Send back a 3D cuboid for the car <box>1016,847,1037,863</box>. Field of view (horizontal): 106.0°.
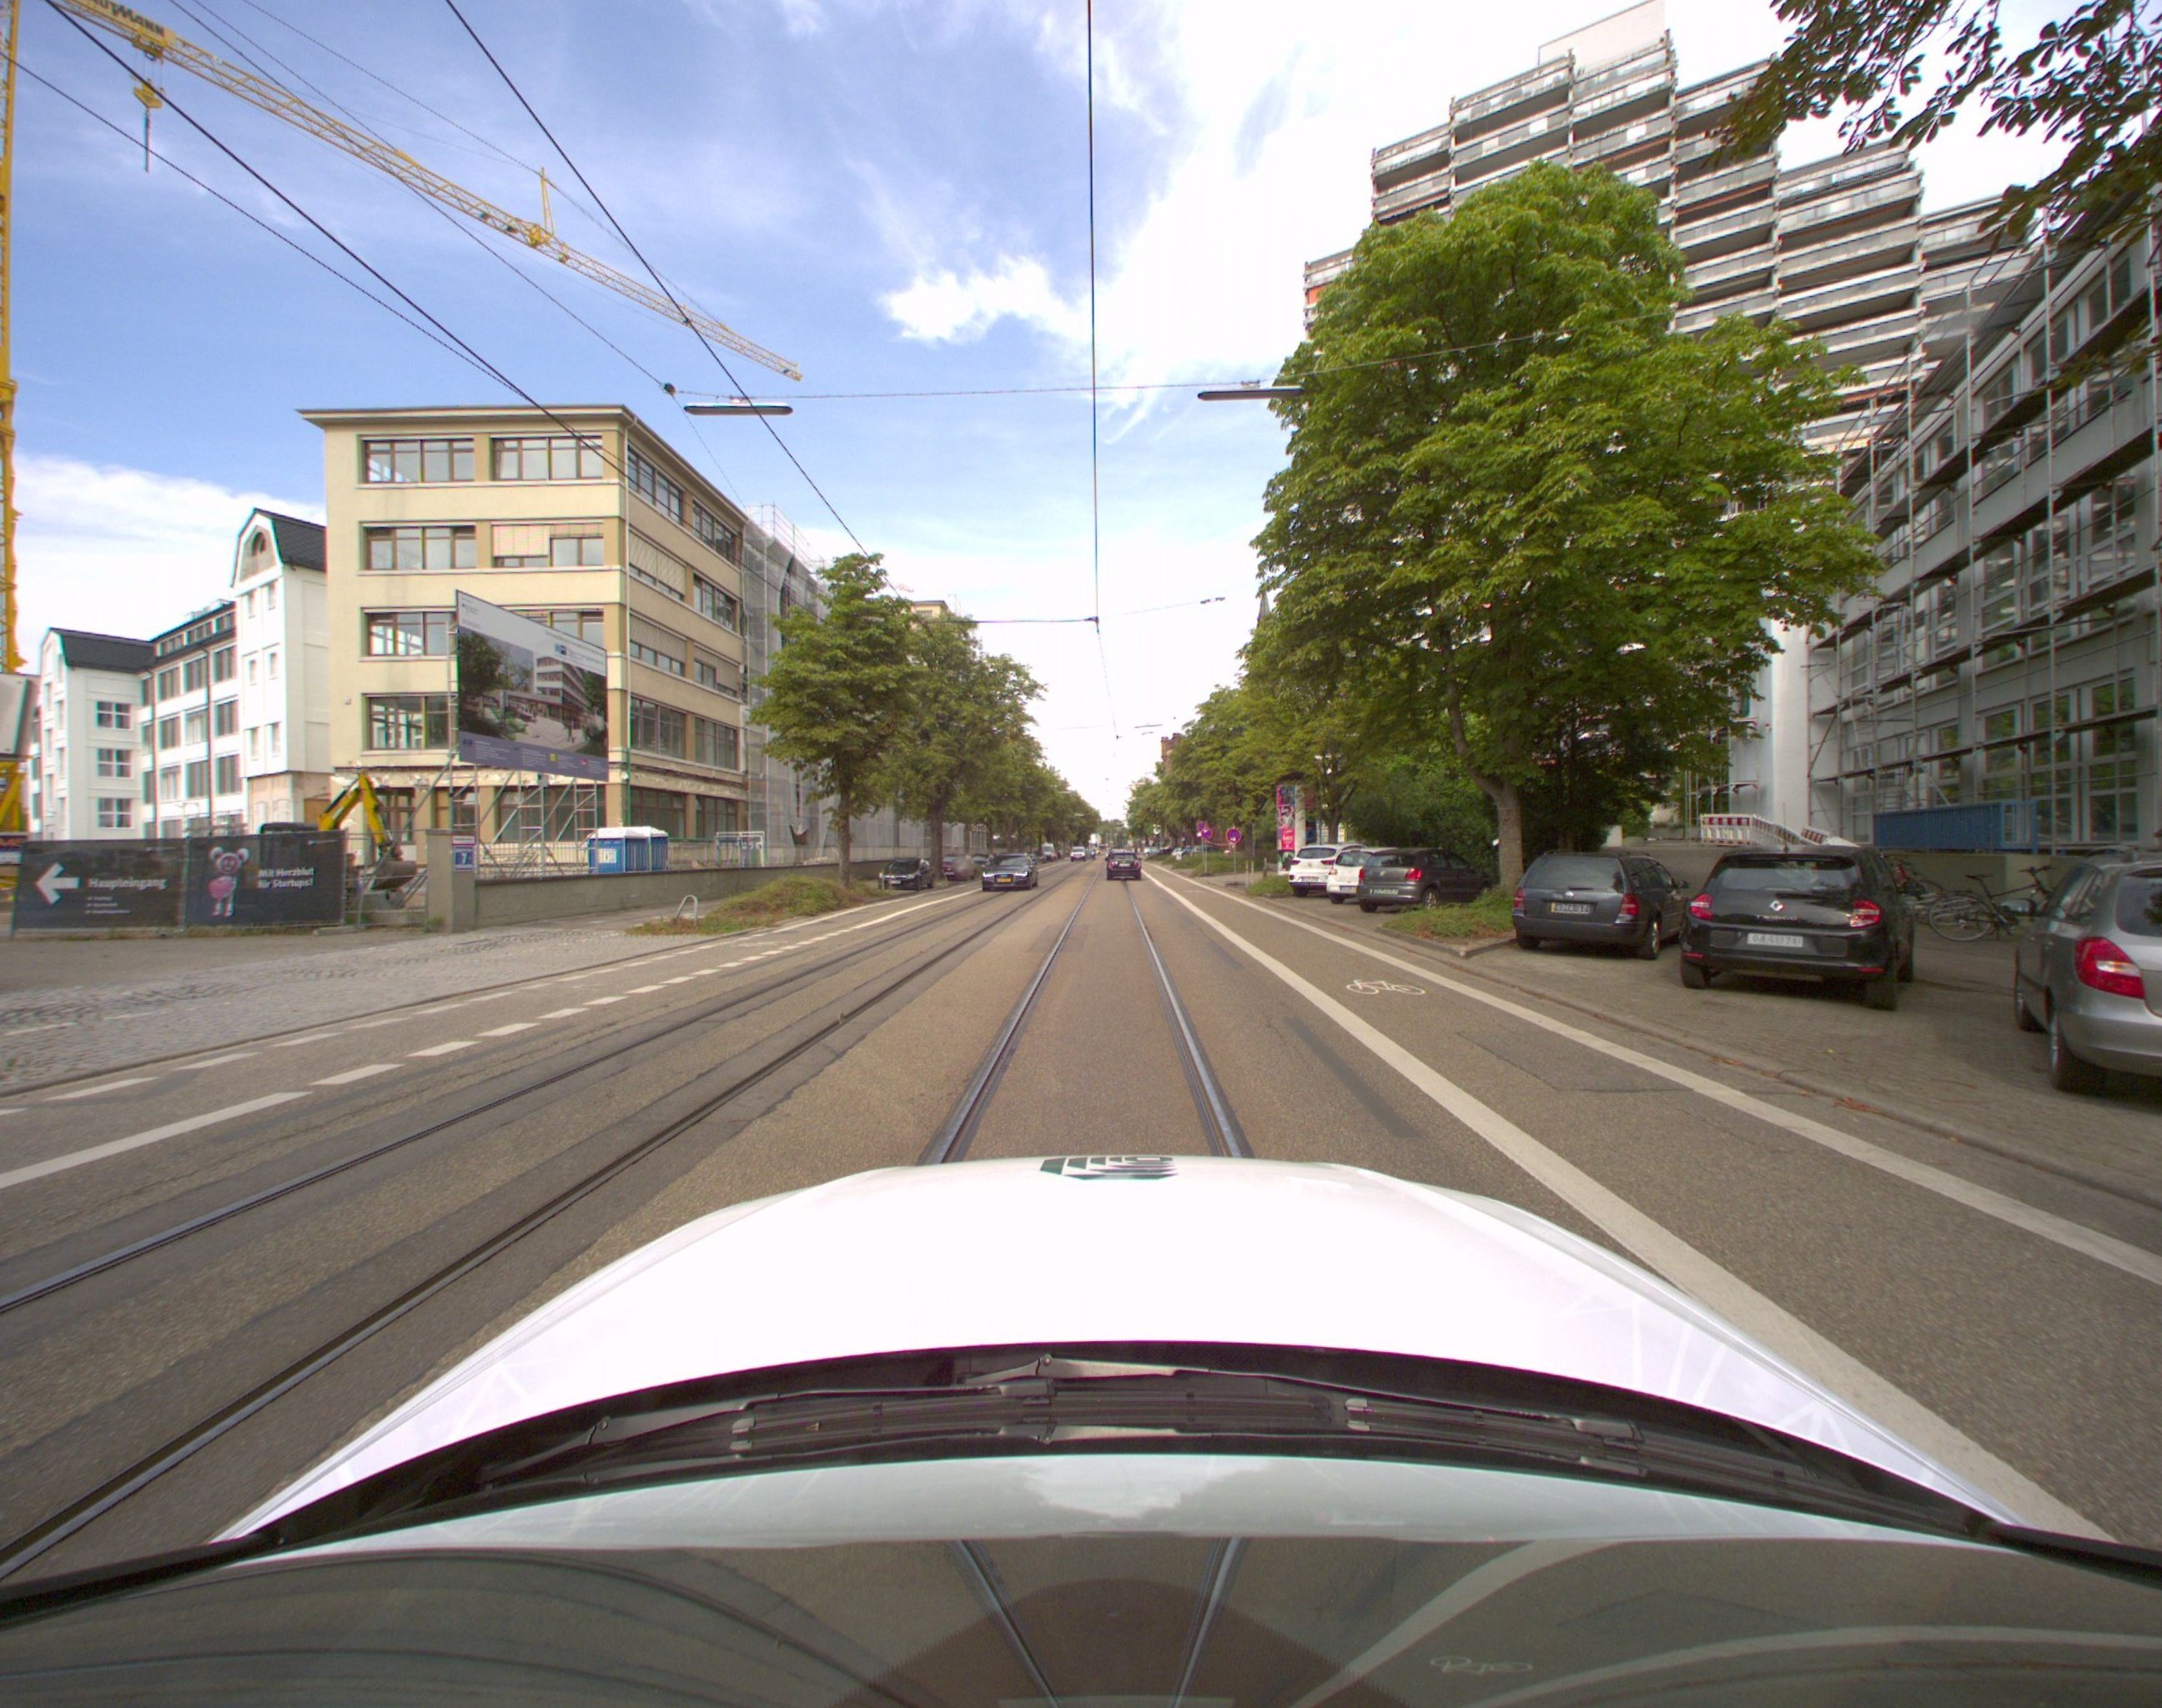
[{"bbox_3d":[-5.601,0.117,84.414,1.796,1.583,4.032,-2,0,1],"label":"car"}]

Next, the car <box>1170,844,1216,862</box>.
[{"bbox_3d":[10.407,-0.092,75.838,3.976,1.627,1.884,0,0,-2],"label":"car"}]

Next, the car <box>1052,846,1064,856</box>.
[{"bbox_3d":[-3.878,-0.479,140.460,1.796,1.583,4.032,-2,0,1],"label":"car"}]

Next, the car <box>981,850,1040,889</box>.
[{"bbox_3d":[-2.749,0.566,32.650,1.828,1.448,4.555,-1,0,1],"label":"car"}]

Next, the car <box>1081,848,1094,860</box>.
[{"bbox_3d":[0.977,-0.023,121.480,1.796,1.622,4.486,-2,0,1],"label":"car"}]

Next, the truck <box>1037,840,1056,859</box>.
[{"bbox_3d":[-4.597,-0.588,108.901,2.063,2.470,4.900,-2,0,1],"label":"truck"}]

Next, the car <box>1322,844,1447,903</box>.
[{"bbox_3d":[8.168,0.479,21.834,3.463,1.442,1.543,-1,0,-37],"label":"car"}]

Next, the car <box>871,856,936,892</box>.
[{"bbox_3d":[-7.605,0.808,35.233,1.796,1.374,4.032,-2,0,1],"label":"car"}]

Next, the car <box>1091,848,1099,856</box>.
[{"bbox_3d":[3.314,-0.498,189.181,1.796,1.622,4.486,-2,0,1],"label":"car"}]

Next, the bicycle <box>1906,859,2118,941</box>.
[{"bbox_3d":[13.599,0.668,11.984,1.947,1.128,0.542,-2,-1,32],"label":"bicycle"}]

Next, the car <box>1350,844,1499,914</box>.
[{"bbox_3d":[7.945,0.517,18.745,3.552,1.442,1.606,-1,0,-37],"label":"car"}]

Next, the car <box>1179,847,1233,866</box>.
[{"bbox_3d":[9.724,0.155,63.540,3.976,1.425,1.884,0,0,-2],"label":"car"}]

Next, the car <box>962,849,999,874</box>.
[{"bbox_3d":[-6.688,0.476,54.489,1.796,1.583,4.032,-2,0,1],"label":"car"}]

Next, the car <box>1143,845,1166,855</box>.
[{"bbox_3d":[13.266,-0.720,147.638,3.975,1.910,1.999,0,1,-1],"label":"car"}]

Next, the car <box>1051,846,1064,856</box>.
[{"bbox_3d":[-3.830,-0.436,134.494,1.796,1.583,4.032,-2,0,1],"label":"car"}]

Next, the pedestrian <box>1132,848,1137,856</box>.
[{"bbox_3d":[11.135,-0.389,169.506,0.721,1.646,0.769,0,0,12],"label":"pedestrian"}]

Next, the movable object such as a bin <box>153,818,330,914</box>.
[{"bbox_3d":[-19.057,0.251,18.585,1.977,2.067,1.963,0,0,4],"label":"movable object such as a bin"}]

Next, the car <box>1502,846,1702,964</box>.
[{"bbox_3d":[7.765,0.623,12.010,3.761,1.458,1.620,0,0,-43],"label":"car"}]

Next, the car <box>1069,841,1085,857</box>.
[{"bbox_3d":[-0.473,-0.623,102.021,1.796,1.823,4.486,-2,0,1],"label":"car"}]

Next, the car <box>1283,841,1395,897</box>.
[{"bbox_3d":[7.928,0.409,24.941,3.463,1.572,1.543,-1,0,-37],"label":"car"}]

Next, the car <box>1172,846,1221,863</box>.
[{"bbox_3d":[9.980,0.072,70.440,3.976,1.425,1.884,0,0,-2],"label":"car"}]

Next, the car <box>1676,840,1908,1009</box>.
[{"bbox_3d":[8.144,0.626,9.211,3.761,1.522,1.620,0,0,-43],"label":"car"}]

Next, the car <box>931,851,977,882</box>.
[{"bbox_3d":[-7.058,0.656,45.621,1.796,1.583,4.032,-2,0,1],"label":"car"}]

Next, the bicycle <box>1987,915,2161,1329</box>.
[{"bbox_3d":[3.693,0.864,1.973,0.655,1.249,2.125,0,1,1],"label":"bicycle"}]

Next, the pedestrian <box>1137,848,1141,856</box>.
[{"bbox_3d":[12.262,-0.424,172.707,0.721,1.646,0.769,0,0,12],"label":"pedestrian"}]

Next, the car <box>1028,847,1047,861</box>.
[{"bbox_3d":[-5.082,-0.015,95.816,1.796,1.583,4.032,-2,0,1],"label":"car"}]

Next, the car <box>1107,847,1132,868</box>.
[{"bbox_3d":[2.846,0.257,60.307,1.786,1.470,4.002,1,0,2],"label":"car"}]

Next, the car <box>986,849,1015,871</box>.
[{"bbox_3d":[-6.384,0.454,65.224,1.796,1.583,4.032,-2,0,1],"label":"car"}]

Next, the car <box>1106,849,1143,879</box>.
[{"bbox_3d":[2.162,0.478,41.215,1.787,1.423,4.001,0,0,1],"label":"car"}]

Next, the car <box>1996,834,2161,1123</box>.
[{"bbox_3d":[7.281,0.645,5.315,3.761,1.522,1.620,0,0,-43],"label":"car"}]

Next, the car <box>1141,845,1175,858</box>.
[{"bbox_3d":[9.564,-0.345,101.507,3.976,1.508,1.884,0,0,-2],"label":"car"}]
